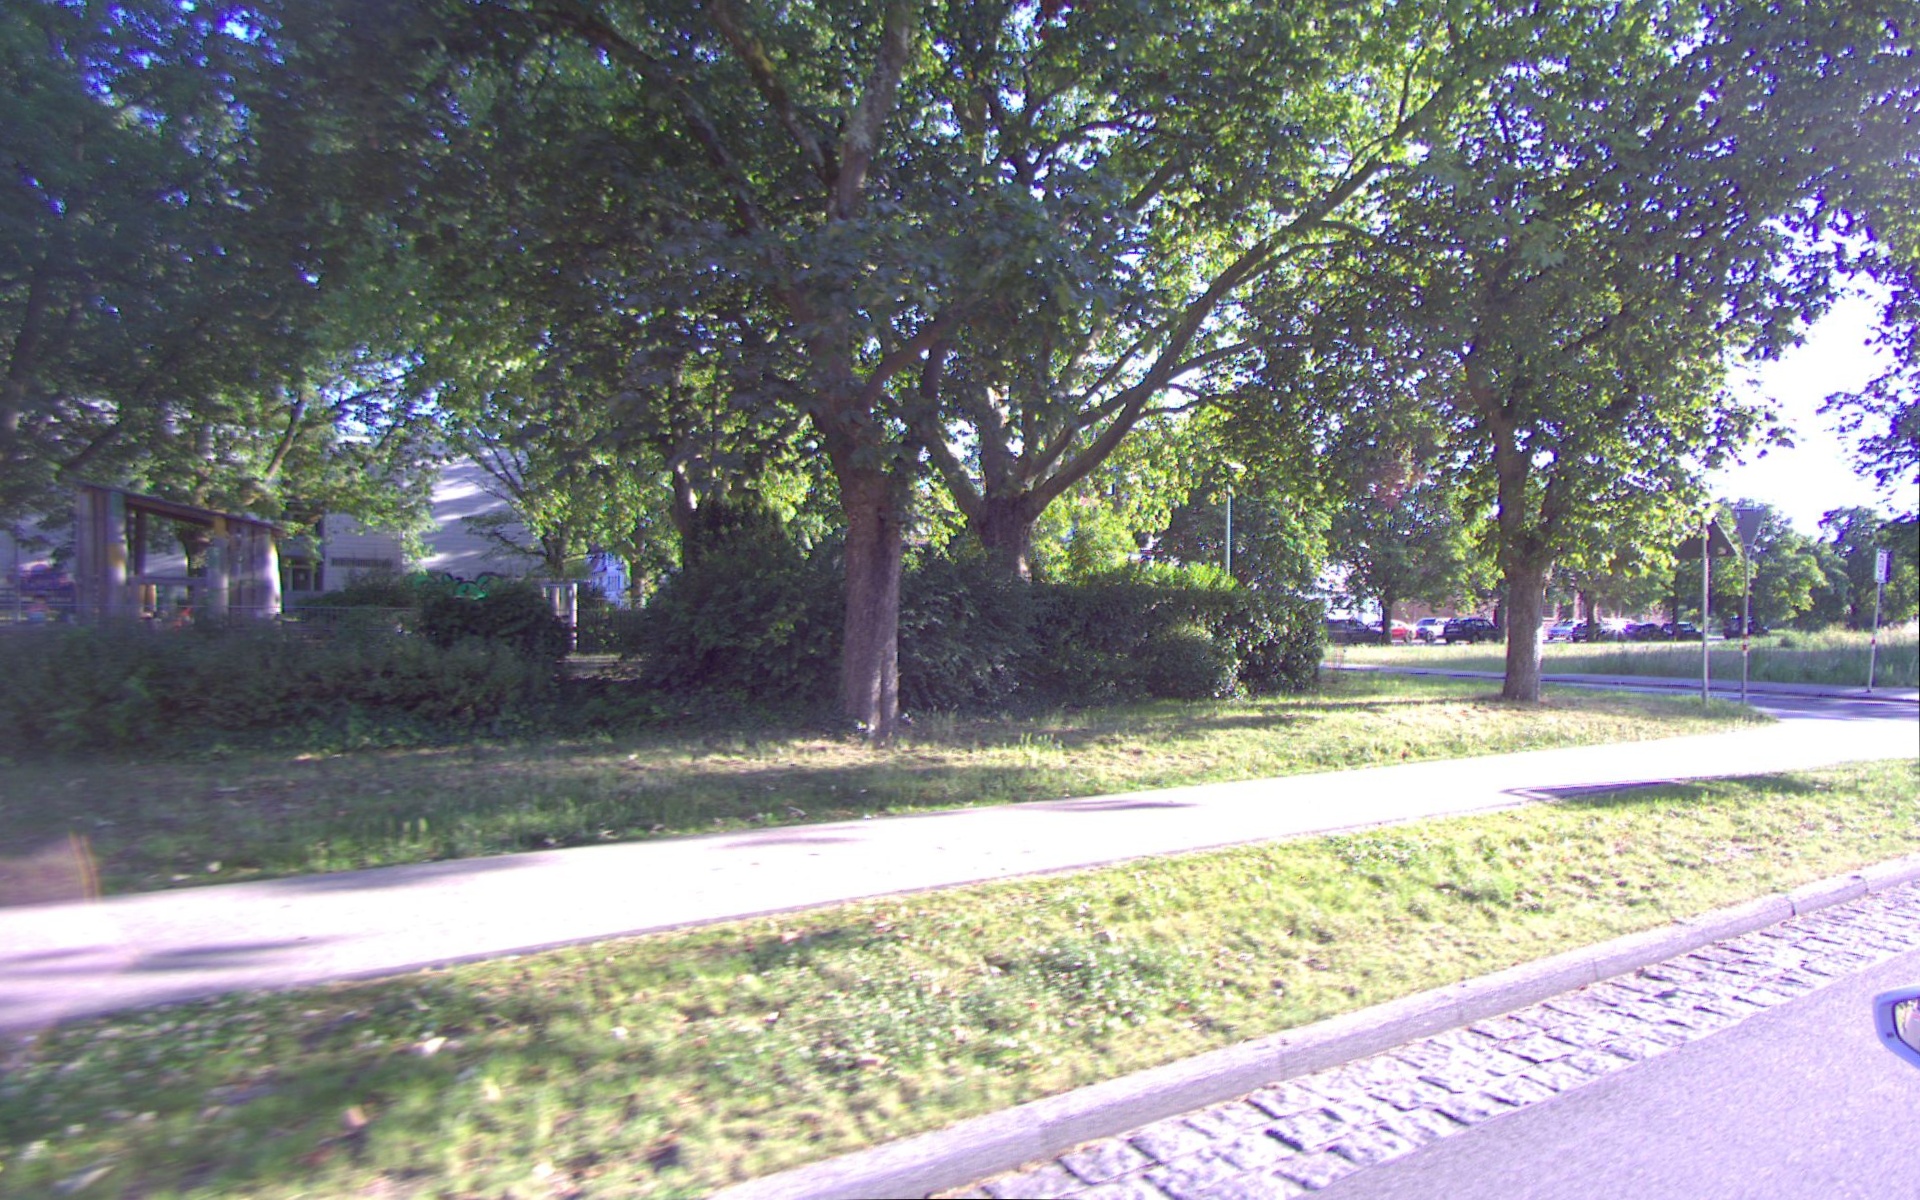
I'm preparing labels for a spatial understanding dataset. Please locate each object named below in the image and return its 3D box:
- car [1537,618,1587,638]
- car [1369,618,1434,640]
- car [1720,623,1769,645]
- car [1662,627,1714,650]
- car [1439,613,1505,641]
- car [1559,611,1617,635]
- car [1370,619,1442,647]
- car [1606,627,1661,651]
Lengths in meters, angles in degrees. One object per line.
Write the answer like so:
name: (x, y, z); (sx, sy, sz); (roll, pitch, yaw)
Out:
car: (45.878, 2.123, 76.524); (3.954, 1.424, 1.621); (1, 0, -31)
car: (28.831, 1.888, 65.522); (4.425, 1.350, 1.563); (1, 0, -29)
car: (62.428, 2.699, 79.901); (4.173, 1.619, 1.684); (1, 0, -31)
car: (54.047, 2.863, 74.557); (4.173, 1.619, 1.684); (1, 0, -31)
car: (31.244, 1.642, 61.289); (4.173, 1.619, 1.684); (1, 0, -31)
car: (43.256, 1.562, 69.143); (4.173, 1.619, 1.684); (1, 0, -31)
car: (25.176, 1.828, 56.675); (4.175, 1.496, 1.683); (1, 0, -32)
car: (48.251, 2.743, 71.908); (4.173, 1.619, 1.684); (1, 0, -31)
